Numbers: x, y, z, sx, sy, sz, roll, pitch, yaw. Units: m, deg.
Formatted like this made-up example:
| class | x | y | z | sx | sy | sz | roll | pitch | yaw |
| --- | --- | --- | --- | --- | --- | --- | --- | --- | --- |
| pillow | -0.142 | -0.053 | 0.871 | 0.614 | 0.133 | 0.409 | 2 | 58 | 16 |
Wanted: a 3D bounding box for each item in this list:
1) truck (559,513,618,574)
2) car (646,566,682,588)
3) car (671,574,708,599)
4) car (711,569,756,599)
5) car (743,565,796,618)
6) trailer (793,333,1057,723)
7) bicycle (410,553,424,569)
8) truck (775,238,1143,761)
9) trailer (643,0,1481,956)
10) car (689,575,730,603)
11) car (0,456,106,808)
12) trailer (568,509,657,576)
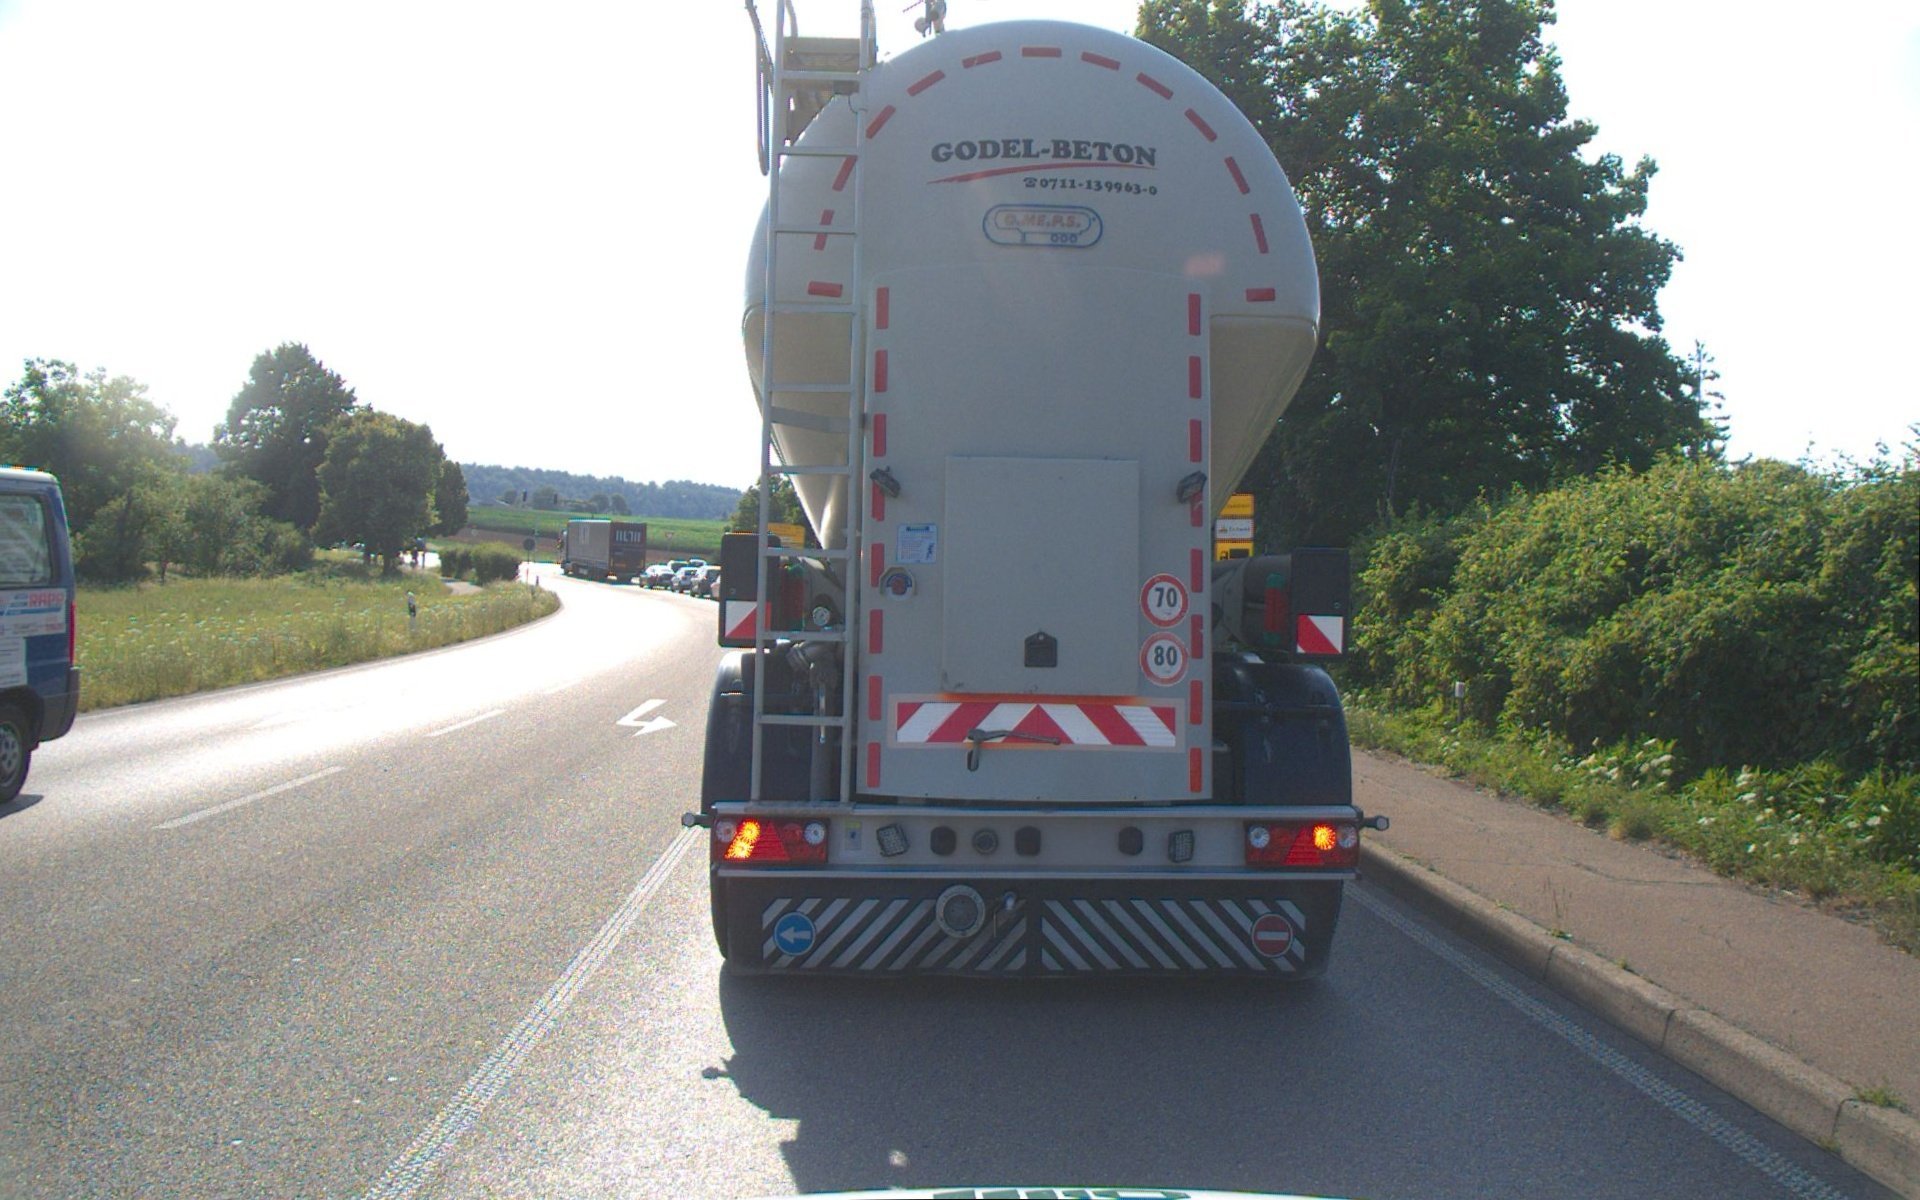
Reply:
| class | x | y | z | sx | sy | sz | roll | pitch | yaw |
| --- | --- | --- | --- | --- | --- | --- | --- | --- | --- |
| truck | -28.563 | -4.276 | 126.964 | 3.331 | 4.426 | 5.664 | 2 | 0 | -24 |
| car | -18.230 | -1.429 | 101.840 | 1.742 | 1.227 | 3.408 | 2 | 0 | -18 |
| car | -15.639 | -0.799 | 95.545 | 1.556 | 1.364 | 3.408 | 2 | 0 | -18 |
| car | -11.164 | -0.814 | 81.425 | 1.556 | 1.364 | 3.408 | 2 | 0 | -18 |
| car | -7.751 | -0.355 | 67.128 | 1.828 | 2.049 | 3.709 | 1 | 1 | -11 |
| trailer | -0.476 | -0.896 | 26.198 | 2.895 | 4.390 | 14.173 | 2 | 0 | -1 |
| bicycle | -39.192 | -2.788 | 119.330 | 0.623 | 1.093 | 1.667 | 3 | 0 | -9 |
| truck | -0.122 | -0.794 | 15.088 | 2.852 | 4.076 | 4.057 | 1 | 0 | -4 |
| trailer | 0.119 | -0.851 | 10.649 | 2.851 | 4.076 | 9.924 | 1 | 0 | -3 |
| car | -13.277 | -0.609 | 87.629 | 1.556 | 1.364 | 3.408 | 2 | 0 | -18 |
| car | -6.846 | 0.185 | 9.116 | 1.958 | 2.174 | 4.776 | 1 | 0 | -3 |
| trailer | -25.222 | -4.061 | 119.280 | 3.331 | 4.426 | 14.190 | 2 | 1 | -23 |
